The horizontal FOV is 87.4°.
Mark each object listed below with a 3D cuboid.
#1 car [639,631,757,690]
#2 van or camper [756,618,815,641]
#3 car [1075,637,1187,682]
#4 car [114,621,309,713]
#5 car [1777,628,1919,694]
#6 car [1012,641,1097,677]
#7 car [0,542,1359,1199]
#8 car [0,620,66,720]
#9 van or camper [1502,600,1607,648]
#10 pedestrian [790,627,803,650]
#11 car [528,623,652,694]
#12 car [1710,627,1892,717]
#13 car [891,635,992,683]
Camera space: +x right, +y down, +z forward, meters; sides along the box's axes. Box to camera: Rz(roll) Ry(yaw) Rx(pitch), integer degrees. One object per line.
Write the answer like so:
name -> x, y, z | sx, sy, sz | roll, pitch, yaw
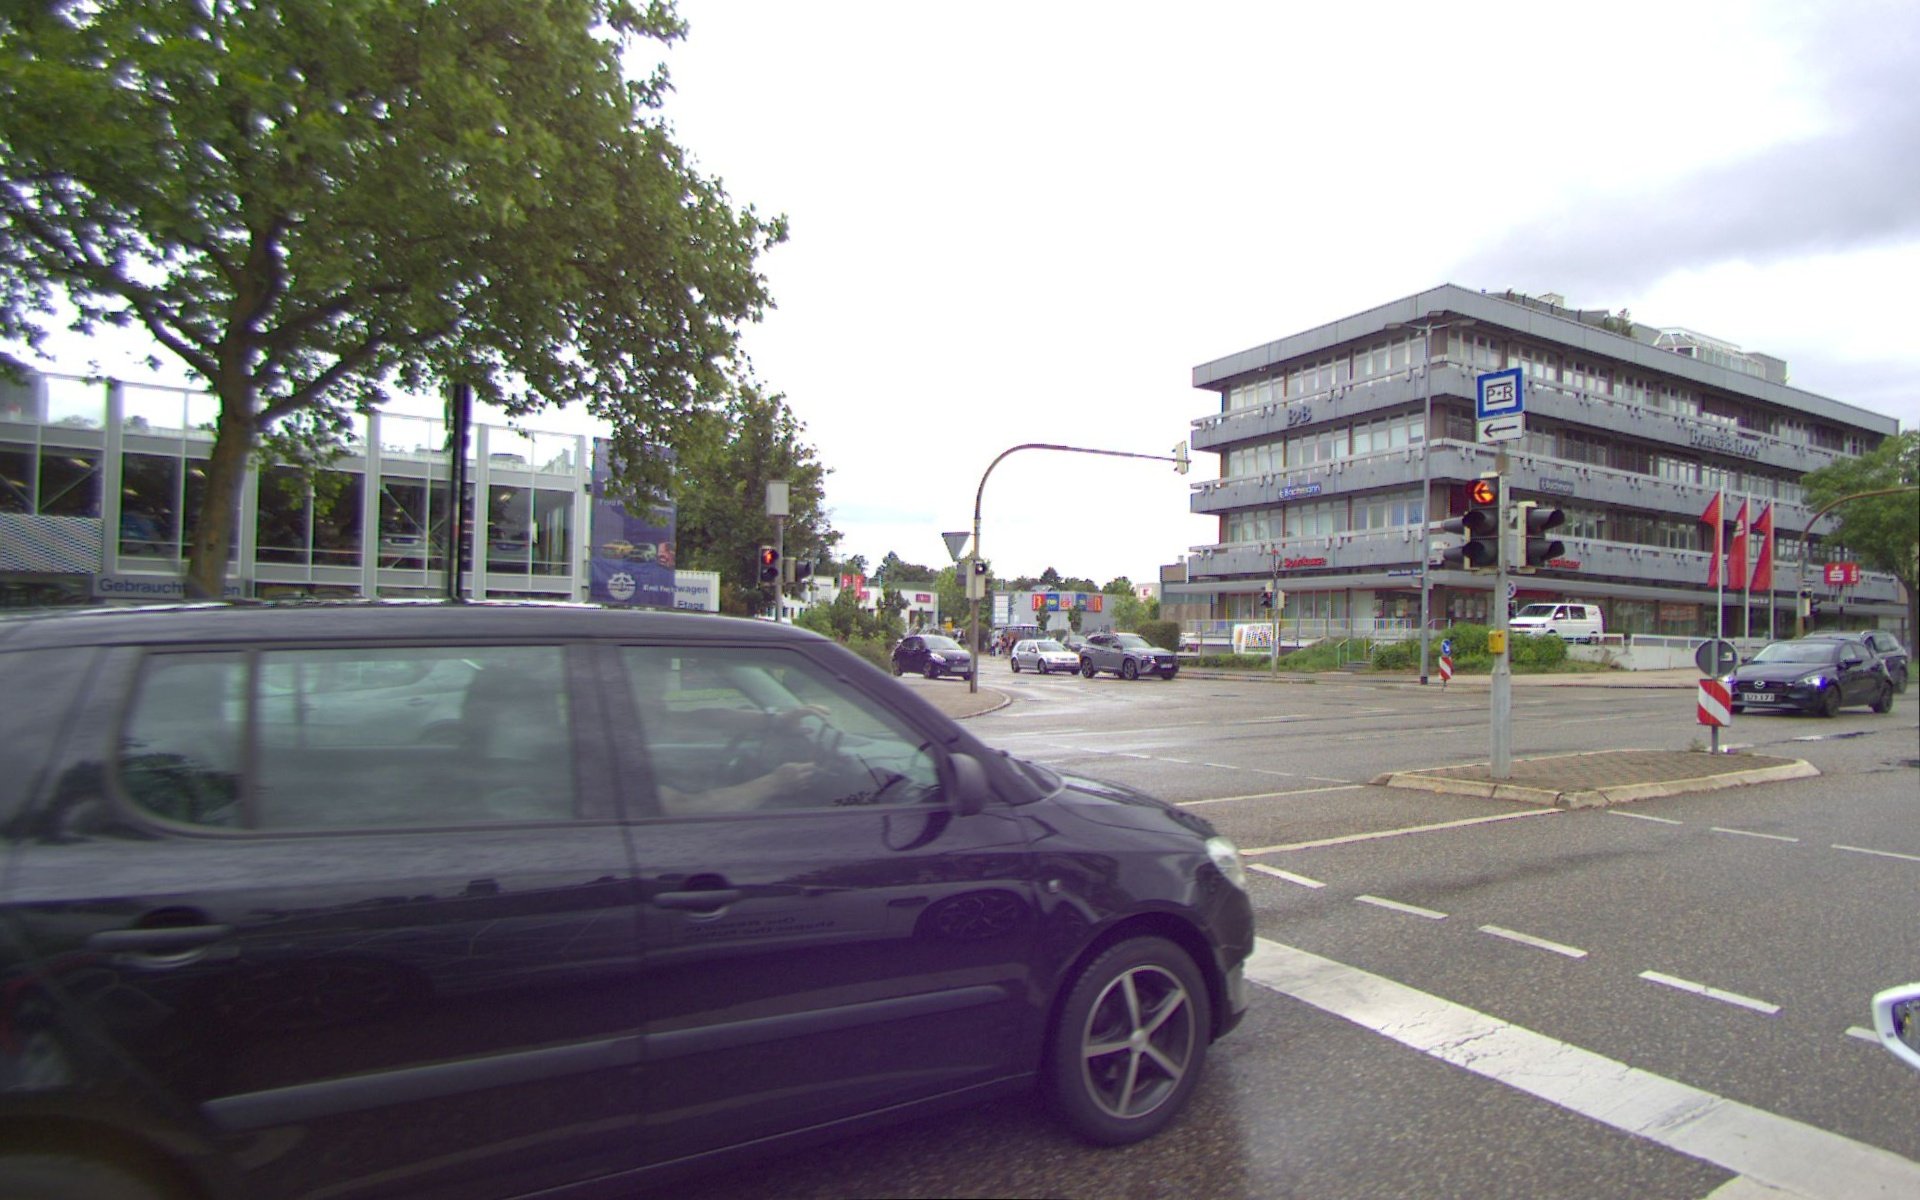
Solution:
car -> -6.422, 1.431, 24.392 | 1.673, 1.311, 3.718 | 1, -3, -34
van or camper -> -15.978, 2.710, 92.035 | 5.025, 2.040, 1.976 | 2, -2, -42
car -> 6.152, 2.118, 36.518 | 1.857, 1.508, 4.129 | 1, -2, -30
car -> -14.733, 1.275, 19.713 | 4.166, 1.617, 1.992 | -2, -3, 37
car -> 25.715, 1.696, 28.883 | 4.827, 1.750, 1.902 | 1, -2, -31
car -> 3.925, 2.450, 42.187 | 1.856, 1.418, 3.671 | 1, -2, -29
car -> -0.883, 0.717, 2.919 | 4.030, 1.509, 1.705 | 2, -2, -30
car -> -17.841, 1.221, 17.936 | 4.165, 1.674, 2.005 | -2, -4, 37
van or camper -> 26.773, 1.098, 45.203 | 4.733, 1.993, 1.984 | 3, -1, -30
pedestrian -> -12.757, 2.999, 78.371 | 0.849, 1.802, 0.532 | 0, -2, 5
car -> -8.724, 1.306, 23.502 | 1.860, 1.508, 3.955 | 1, -2, -34
car -> 16.650, 1.361, 19.849 | 3.958, 1.601, 1.700 | 2, -2, -34
car -> -0.682, 1.964, 34.171 | 1.796, 1.508, 3.962 | 1, -2, -29
